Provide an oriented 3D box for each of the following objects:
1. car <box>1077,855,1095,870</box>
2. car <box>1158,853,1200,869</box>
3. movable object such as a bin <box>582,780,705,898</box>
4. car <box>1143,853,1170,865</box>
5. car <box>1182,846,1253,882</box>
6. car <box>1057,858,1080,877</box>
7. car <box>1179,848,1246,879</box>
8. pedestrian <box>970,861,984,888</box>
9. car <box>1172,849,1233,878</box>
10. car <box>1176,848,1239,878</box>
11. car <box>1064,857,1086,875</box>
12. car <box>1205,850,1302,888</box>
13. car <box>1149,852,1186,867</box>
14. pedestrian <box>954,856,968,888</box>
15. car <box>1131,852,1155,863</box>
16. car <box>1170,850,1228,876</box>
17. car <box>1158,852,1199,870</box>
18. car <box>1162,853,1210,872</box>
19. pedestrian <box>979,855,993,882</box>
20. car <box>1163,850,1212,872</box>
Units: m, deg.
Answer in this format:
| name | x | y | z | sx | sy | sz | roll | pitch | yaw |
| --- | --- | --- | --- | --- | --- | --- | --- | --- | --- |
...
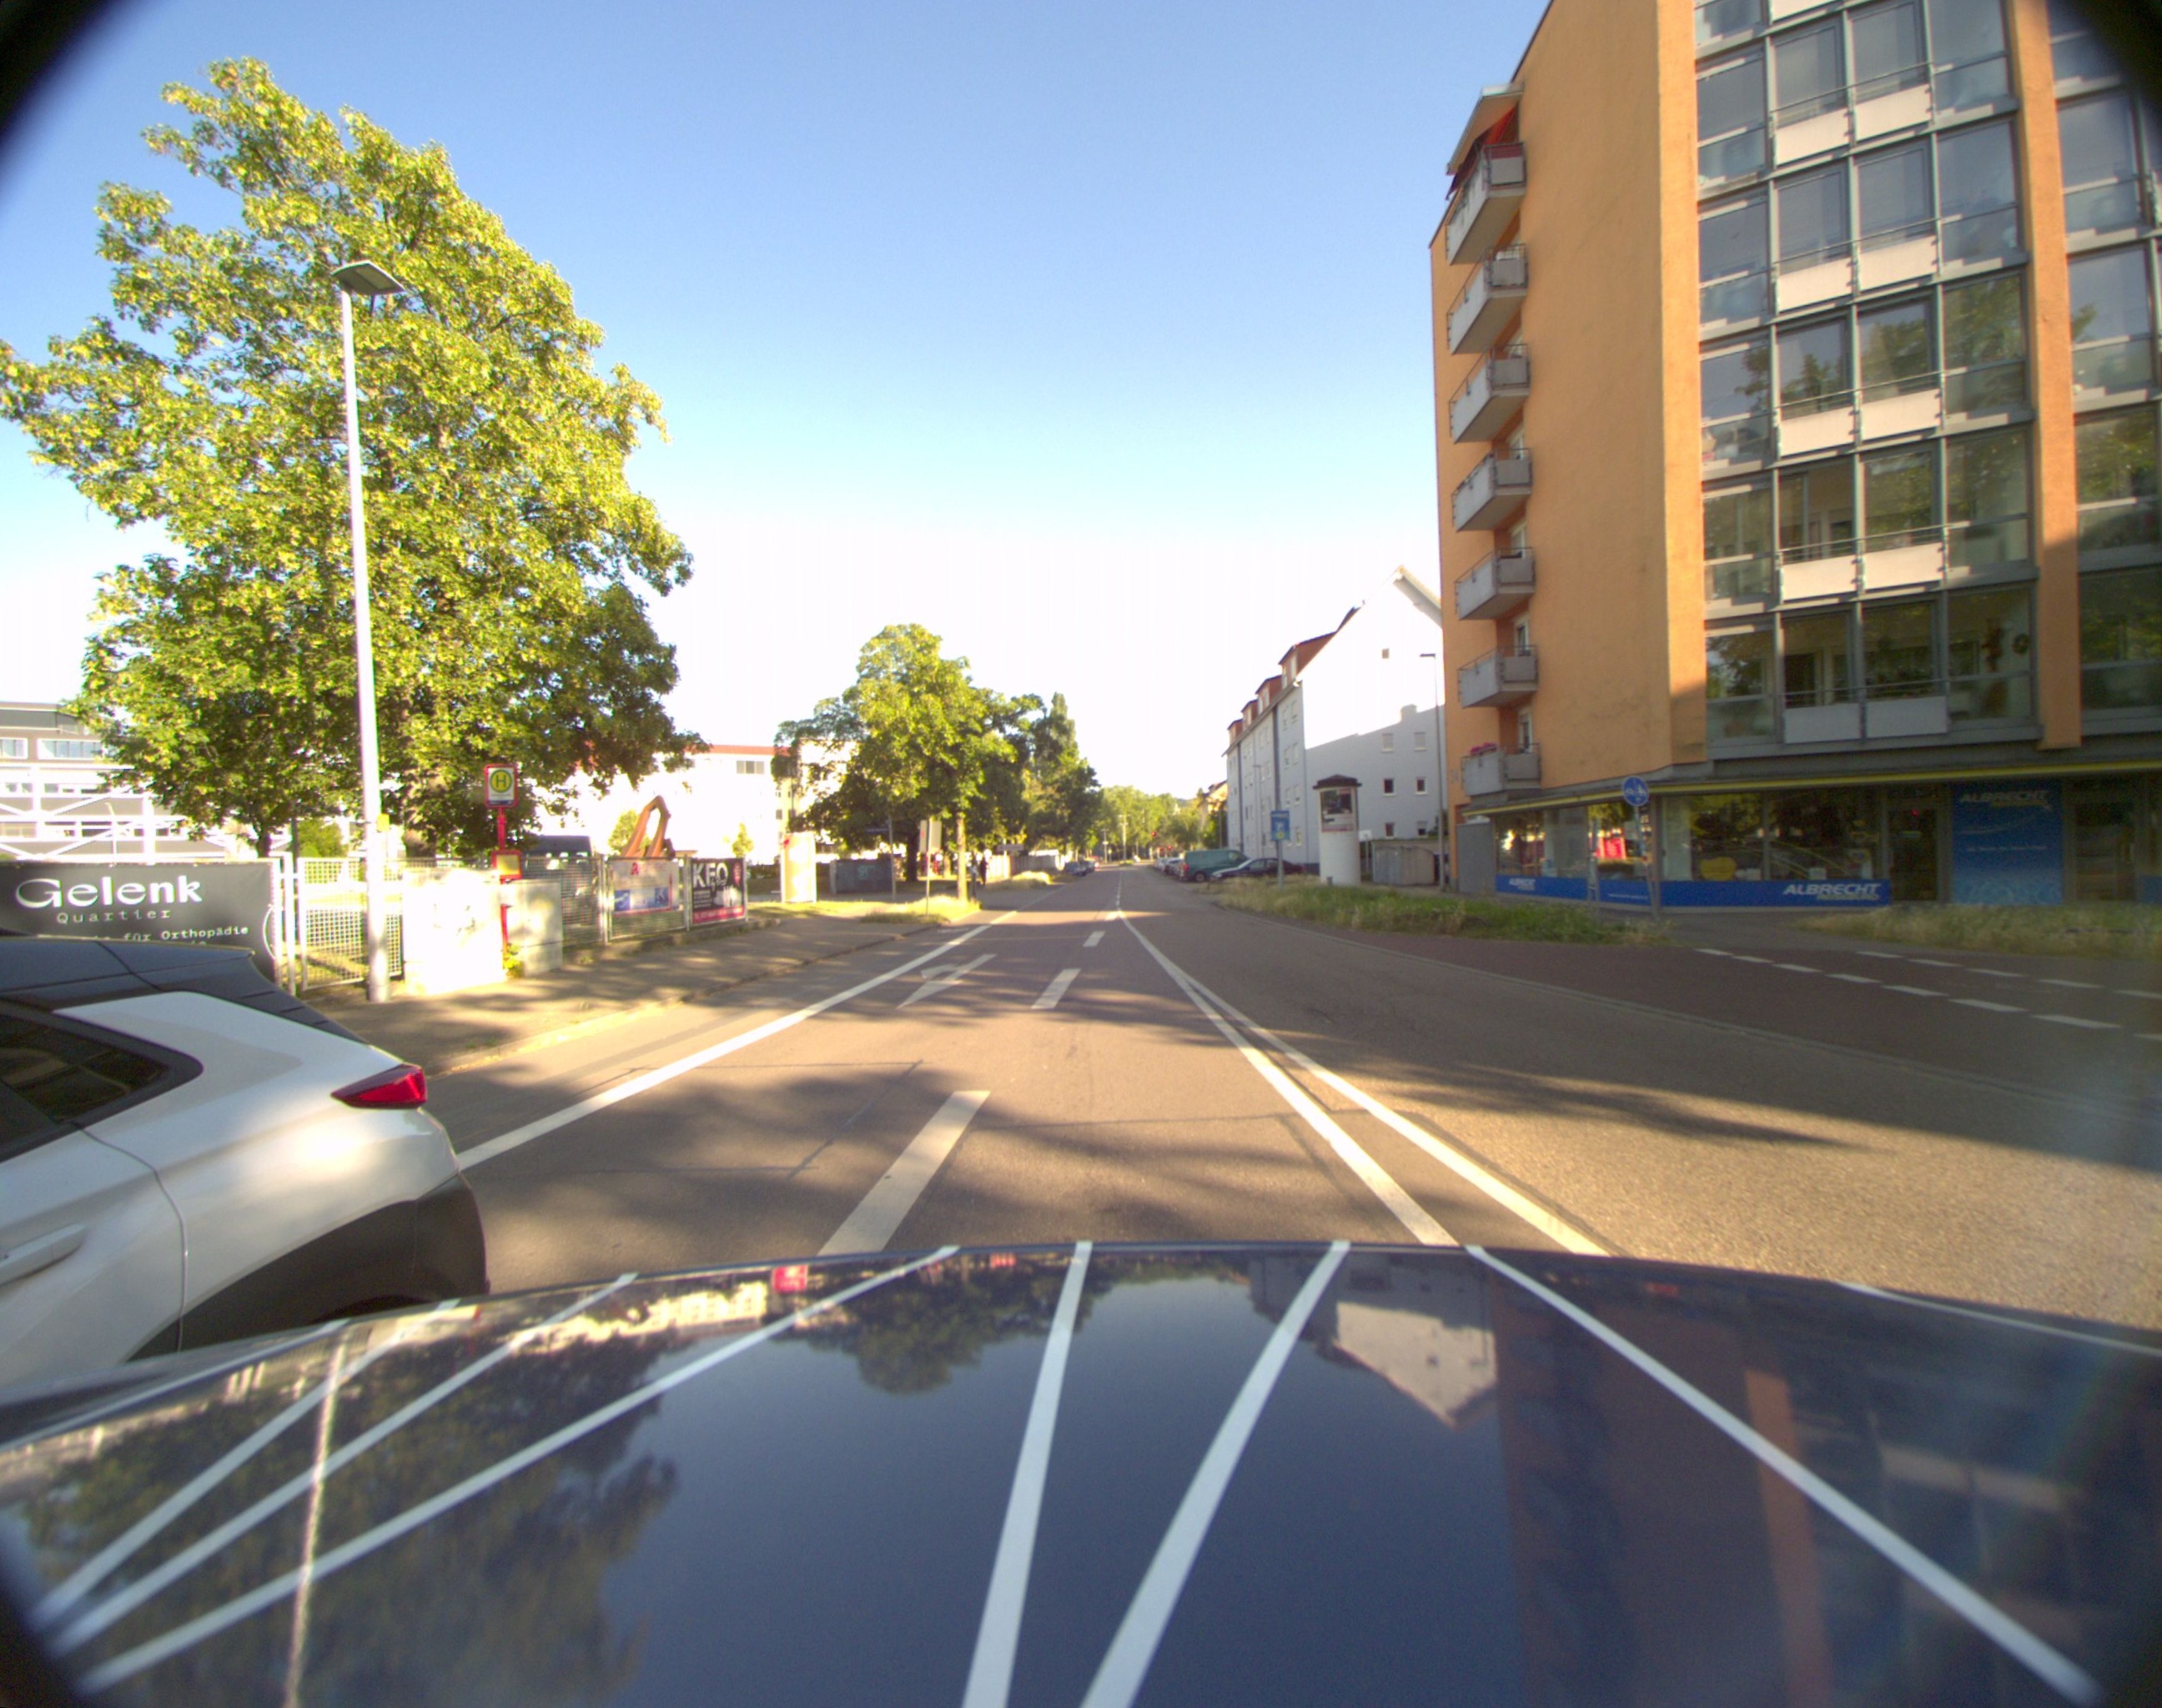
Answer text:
| name | x | y | z | sx | sy | sz | roll | pitch | yaw |
| --- | --- | --- | --- | --- | --- | --- | --- | --- | --- |
| car | 0.553 | 0.936 | 87.975 | 1.998 | 1.521 | 3.999 | -2 | 1 | 1 |
| car | 10.292 | 0.740 | 79.930 | 4.257 | 1.564 | 1.867 | -2 | 1 | 5 |
| movable object such as a bin | -22.240 | -0.710 | 38.545 | 3.986 | 5.447 | 6.016 | -3 | 1 | -42 |
| car | 10.449 | 0.686 | 105.241 | 3.538 | 1.564 | 1.867 | -2 | 1 | 5 |
| car | 8.182 | 0.580 | 45.938 | 3.996 | 1.936 | 2.000 | -2 | 1 | 4 |
| car | -1.103 | 1.205 | 69.593 | 1.998 | 1.521 | 3.999 | -2 | 1 | 1 |
| car | 8.344 | 0.610 | 48.586 | 3.995 | 1.805 | 2.000 | -2 | 1 | 5 |
| pedestrian | -5.600 | 1.105 | 40.981 | 0.609 | 1.426 | 0.639 | -2 | 1 | 1 |
| car | 8.558 | 0.654 | 53.692 | 4.059 | 1.805 | 1.937 | -2 | 1 | 5 |
| car | 8.488 | 0.574 | 51.341 | 3.995 | 1.805 | 2.000 | -2 | 1 | 5 |
| car | -0.601 | 1.137 | 73.941 | 1.998 | 1.521 | 3.999 | -2 | 1 | 1 |
| car | 8.286 | 0.719 | 36.873 | 4.423 | 1.652 | 2.001 | -2 | 1 | 9 |
| car | 10.207 | 0.629 | 90.189 | 4.257 | 1.564 | 1.867 | -2 | 1 | 5 |
| pedestrian | -6.493 | 0.965 | 41.142 | 0.609 | 1.727 | 0.638 | -2 | 1 | -5 |
| car | 9.684 | 0.571 | 118.222 | 3.538 | 1.564 | 1.867 | -2 | 1 | 5 |
| car | 8.735 | 0.649 | 56.436 | 4.071 | 1.741 | 1.899 | -2 | 1 | 5 |
| car | 10.245 | 0.709 | 80.065 | 4.071 | 1.741 | 1.899 | -2 | 1 | 5 |
| car | 9.554 | 0.758 | 69.373 | 4.257 | 1.564 | 1.867 | -2 | 1 | 5 |
| pedestrian | -5.894 | 0.906 | 47.122 | 0.696 | 1.659 | 0.638 | -2 | 1 | -3 |
| car | 9.261 | 0.593 | 66.486 | 4.117 | 1.762 | 1.757 | -2 | 1 | 5 |
